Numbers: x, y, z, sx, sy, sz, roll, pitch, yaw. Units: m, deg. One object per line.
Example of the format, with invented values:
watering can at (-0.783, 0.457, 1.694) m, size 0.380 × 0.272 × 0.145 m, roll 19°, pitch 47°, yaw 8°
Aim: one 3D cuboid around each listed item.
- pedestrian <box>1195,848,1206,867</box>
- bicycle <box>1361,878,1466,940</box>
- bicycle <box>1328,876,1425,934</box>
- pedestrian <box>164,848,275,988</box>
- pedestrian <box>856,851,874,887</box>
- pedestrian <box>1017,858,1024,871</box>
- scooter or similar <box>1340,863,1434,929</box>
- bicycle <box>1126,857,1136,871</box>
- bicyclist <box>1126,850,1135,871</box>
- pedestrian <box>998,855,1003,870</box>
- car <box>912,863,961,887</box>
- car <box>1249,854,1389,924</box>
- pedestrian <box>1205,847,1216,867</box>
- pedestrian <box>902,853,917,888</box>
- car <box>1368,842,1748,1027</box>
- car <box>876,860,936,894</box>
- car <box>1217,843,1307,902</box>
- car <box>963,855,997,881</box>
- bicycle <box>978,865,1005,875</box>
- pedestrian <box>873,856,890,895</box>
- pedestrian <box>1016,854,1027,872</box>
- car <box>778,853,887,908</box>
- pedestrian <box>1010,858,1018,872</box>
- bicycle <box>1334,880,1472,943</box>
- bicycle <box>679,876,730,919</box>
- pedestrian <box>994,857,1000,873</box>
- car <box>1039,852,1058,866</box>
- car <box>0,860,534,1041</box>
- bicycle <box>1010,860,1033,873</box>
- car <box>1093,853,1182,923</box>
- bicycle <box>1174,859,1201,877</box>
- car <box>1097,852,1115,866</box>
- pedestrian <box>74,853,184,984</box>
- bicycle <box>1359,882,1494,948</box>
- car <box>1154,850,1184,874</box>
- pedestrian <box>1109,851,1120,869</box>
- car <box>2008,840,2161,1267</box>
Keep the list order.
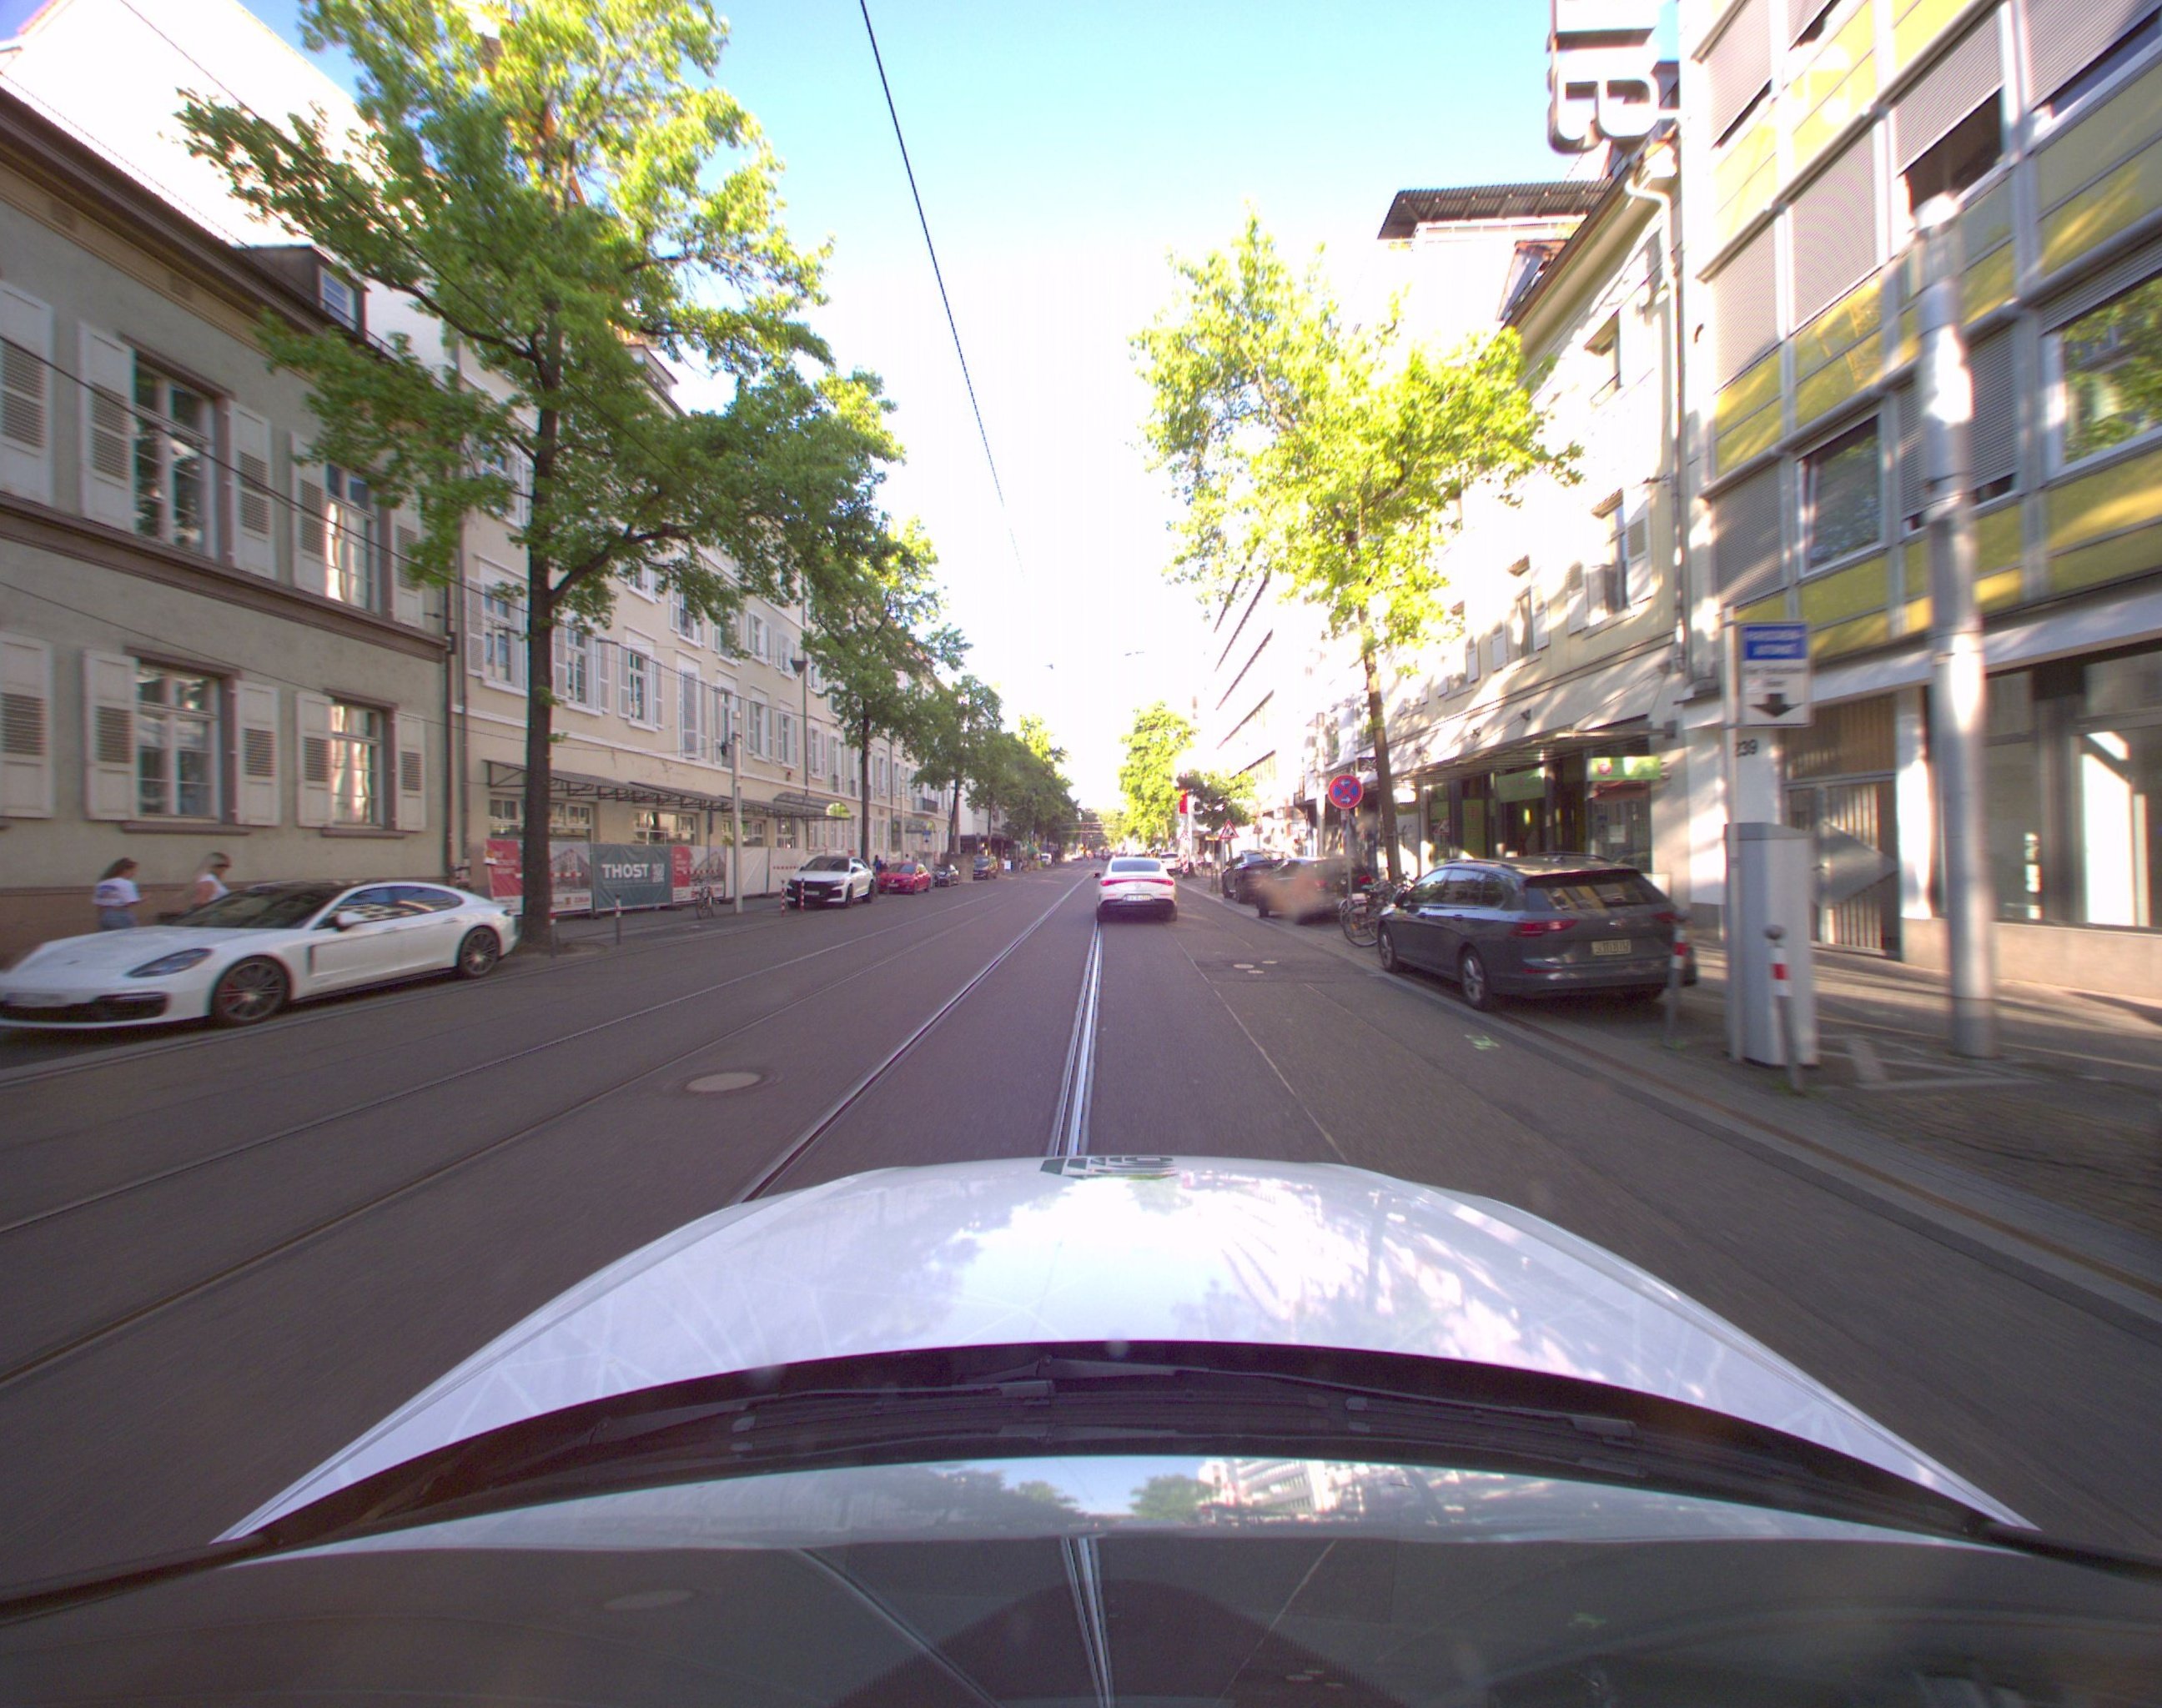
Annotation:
pedestrian at (11.025, 0.323, 75.375) m, size 0.799 × 1.774 × 0.680 m, roll -1°, pitch 0°, yaw -10°
bicycle at (5.467, 0.903, 13.450) m, size 1.529 × 0.964 × 0.497 m, roll -1°, pitch 0°, yaw 8°
bicycle at (5.268, 0.907, 14.566) m, size 1.530 × 0.964 × 0.497 m, roll -1°, pitch 0°, yaw 5°
pedestrian at (-11.029, 0.792, 10.445) m, size 0.683 × 1.721 × 0.656 m, roll -1°, pitch 0°, yaw 1°
pedestrian at (-11.040, 0.755, 41.591) m, size 0.706 × 1.806 × 0.675 m, roll -1°, pitch 0°, yaw -4°
pedestrian at (-6.756, 1.196, 91.144) m, size 0.519 × 1.478 × 0.644 m, roll -3°, pitch -1°, yaw -26°
scooter or similar at (5.787, 0.786, 15.468) m, size 1.530 × 1.196 × 0.676 m, roll -1°, pitch 0°, yaw 6°
bicycle at (4.187, 0.834, 68.301) m, size 0.737 × 1.188 × 2.162 m, roll -2°, pitch -1°, yaw 3°
bicyclist at (4.182, 0.542, 68.364) m, size 0.722 × 1.702 × 0.811 m, roll -1°, pitch -1°, yaw 2°
pedestrian at (-8.907, 0.906, 90.147) m, size 0.515 × 1.653 × 0.650 m, roll -1°, pitch 0°, yaw 1°
car at (-8.242, 1.168, 46.868) m, size 1.986 × 1.292 × 4.002 m, roll -1°, pitch 0°, yaw 2°
car at (5.390, 0.730, 18.984) m, size 1.834 × 1.436 × 3.994 m, roll -1°, pitch 0°, yaw -4°
pedestrian at (11.966, 0.293, 75.027) m, size 0.799 × 1.774 × 0.680 m, roll -1°, pitch 0°, yaw -10°
pedestrian at (-9.958, 0.946, 47.316) m, size 0.705 × 2.004 × 0.675 m, roll -1°, pitch 0°, yaw -2°
car at (4.750, 0.684, 8.937) m, size 1.863 × 1.453 × 4.109 m, roll -4°, pitch 0°, yaw 3°
car at (-8.171, 1.043, 38.373) m, size 1.682 × 1.499 × 4.237 m, roll -1°, pitch 0°, yaw 3°
car at (5.847, 0.554, 26.897) m, size 1.986 × 1.713 × 4.868 m, roll -1°, pitch 0°, yaw 2°
car at (-7.367, 1.015, 59.769) m, size 1.543 × 1.796 × 3.176 m, roll -1°, pitch 0°, yaw 10°
bicycle at (-7.686, 1.370, 70.025) m, size 2.232 × 0.830 × 0.721 m, roll -1°, pitch 0°, yaw 24°
pedestrian at (-10.212, 1.094, 41.685) m, size 0.705 × 2.004 × 0.675 m, roll -1°, pitch 0°, yaw -2°
pedestrian at (-5.719, 0.861, 78.289) m, size 0.920 × 1.774 × 0.870 m, roll -1°, pitch 0°, yaw -13°
car at (-8.446, 0.849, 28.217) m, size 1.954 × 1.692 × 5.017 m, roll -1°, pitch 0°, yaw 3°
pedestrian at (-7.351, 1.212, 89.656) m, size 0.564 × 1.464 × 0.653 m, roll -1°, pitch 0°, yaw 21°
bicycle at (5.109, 0.916, 12.972) m, size 2.026 × 0.964 × 0.282 m, roll -1°, pitch 0°, yaw 6°
bicycle at (-10.236, 1.157, 22.182) m, size 0.592 × 1.050 × 2.005 m, roll -1°, pitch 0°, yaw -5°
pedestrian at (-8.853, 1.166, 86.128) m, size 0.515 × 1.616 × 0.650 m, roll -1°, pitch 0°, yaw 1°
car at (-4.934, 0.760, 122.544) m, size 1.981 × 2.013 × 4.011 m, roll -1°, pitch 0°, yaw 10°
car at (-9.424, 0.908, 9.948) m, size 1.938 × 1.640 × 4.913 m, roll 0°, pitch 0°, yaw 3°
bicycle at (-5.749, 1.182, 78.264) m, size 2.050 × 1.136 × 0.870 m, roll -1°, pitch 0°, yaw -13°
car at (1.238, 0.739, 19.516) m, size 1.862 × 1.469 × 4.042 m, roll -1°, pitch 0°, yaw 0°
bicycle at (6.847, 0.910, 52.466) m, size 1.714 × 1.062 × 0.581 m, roll -2°, pitch 0°, yaw 5°
car at (5.860, 1.109, 190.495) m, size 4.024 × 3.114 × 8.434 m, roll -2°, pitch -1°, yaw 2°
pedestrian at (-12.659, 0.831, 10.851) m, size 0.672 × 1.680 × 0.648 m, roll -1°, pitch 0°, yaw 1°
bicycle at (5.321, 0.945, 12.604) m, size 1.886 × 0.964 × 0.332 m, roll -1°, pitch 0°, yaw 6°
car at (6.810, 0.605, 63.456) m, size 1.986 × 1.728 × 4.243 m, roll -2°, pitch 0°, yaw 2°
pedestrian at (3.401, 0.592, 83.303) m, size 0.920 × 1.774 × 0.870 m, roll -1°, pitch 0°, yaw -13°
car at (4.801, 0.650, 1.346) m, size 1.811 × 1.486 × 3.995 m, roll -5°, pitch 0°, yaw -3°
